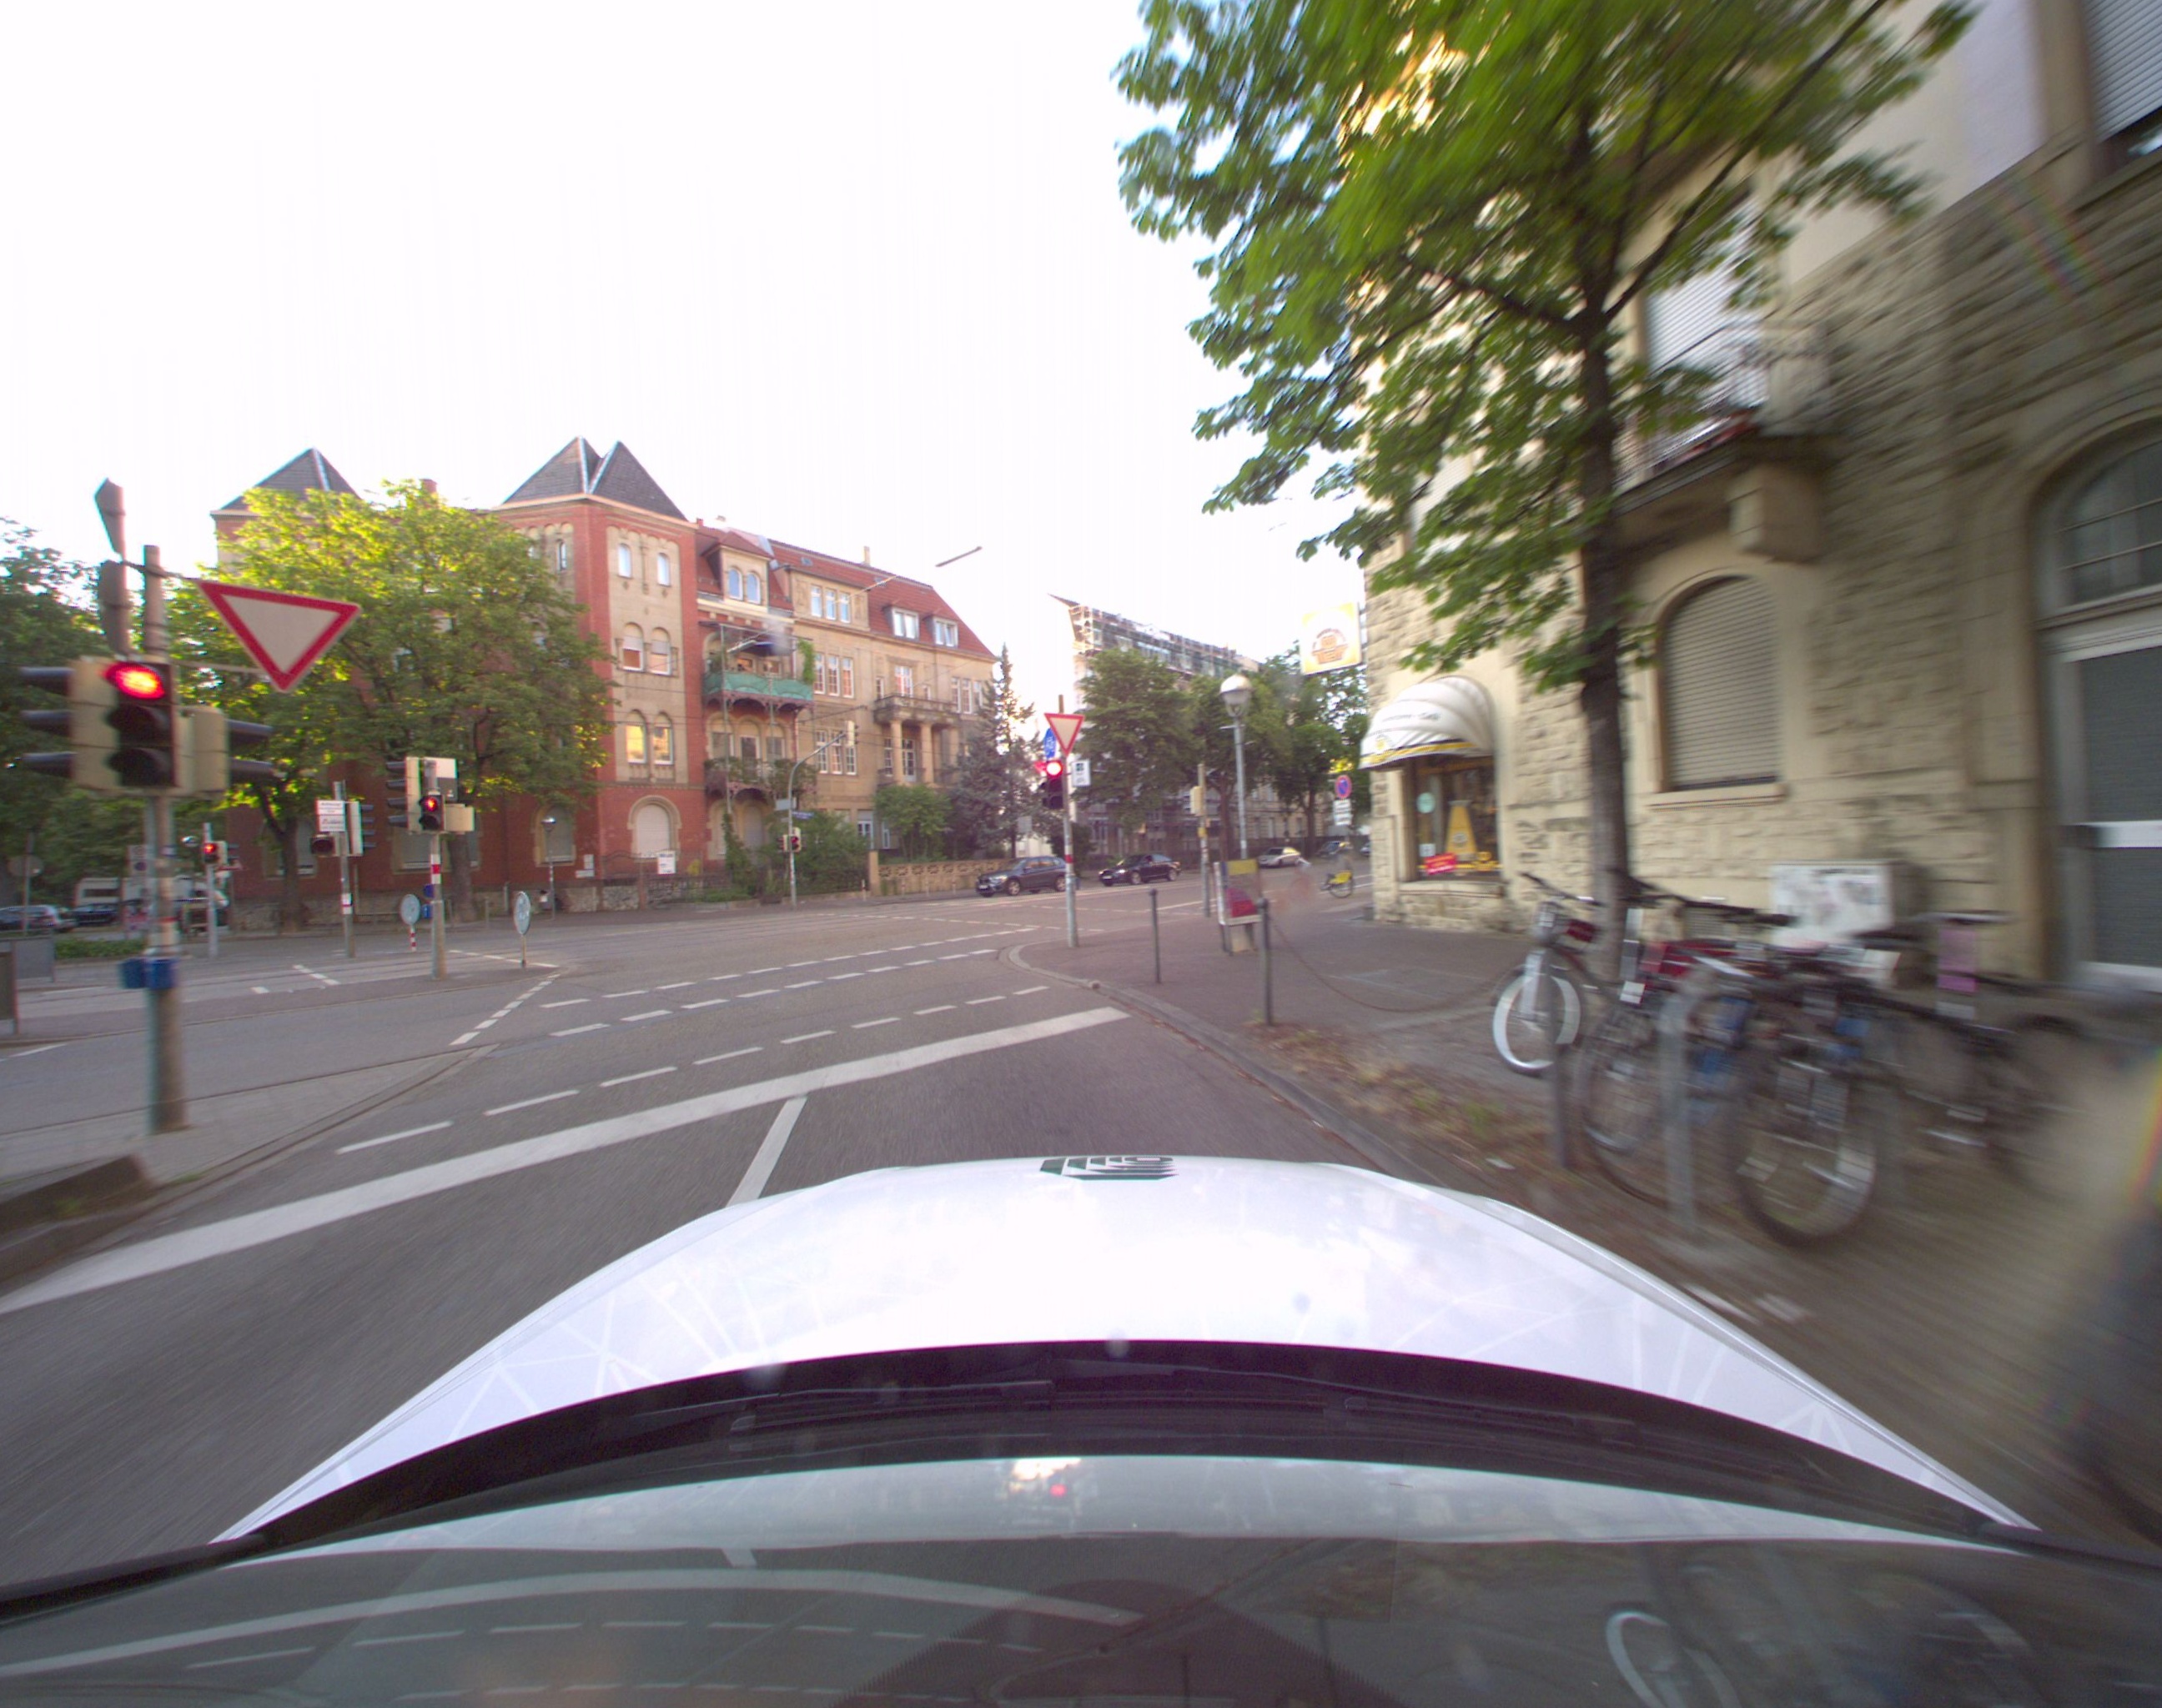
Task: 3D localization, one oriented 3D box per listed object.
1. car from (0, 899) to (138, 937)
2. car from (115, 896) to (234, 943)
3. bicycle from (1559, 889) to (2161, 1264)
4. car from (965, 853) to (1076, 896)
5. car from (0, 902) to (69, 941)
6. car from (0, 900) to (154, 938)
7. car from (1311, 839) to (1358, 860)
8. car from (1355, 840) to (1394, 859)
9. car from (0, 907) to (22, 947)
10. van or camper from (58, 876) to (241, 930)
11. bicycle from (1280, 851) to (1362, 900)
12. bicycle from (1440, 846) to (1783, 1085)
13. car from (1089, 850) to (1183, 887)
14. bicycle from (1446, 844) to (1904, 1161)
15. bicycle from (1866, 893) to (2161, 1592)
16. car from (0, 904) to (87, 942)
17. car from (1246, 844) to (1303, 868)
[{"bbox_3d":[-54.067,3.353,43.150,4.985,1.704,1.979,-1,-1,-33],"label":"car"},{"bbox_3d":[-38.813,2.728,35.038,2.006,1.704,4.675,-1,-1,-29],"label":"car"},{"bbox_3d":[2.861,0.715,3.045,1.801,1.038,0.697,-3,0,-10],"label":"bicycle"},{"bbox_3d":[-2.460,0.838,33.955,1.926,1.510,4.447,-3,0,44],"label":"car"},{"bbox_3d":[-51.385,3.219,37.880,4.985,1.704,1.979,-1,-1,-33],"label":"car"},{"bbox_3d":[-55.071,3.532,44.824,4.985,1.704,1.979,-1,-1,-33],"label":"car"},{"bbox_3d":[20.335,-0.336,65.283,1.926,1.482,4.194,-3,0,44],"label":"car"},{"bbox_3d":[26.135,-0.397,72.464,1.925,1.482,4.348,-3,0,37],"label":"car"},{"bbox_3d":[-50.683,3.349,35.579,4.985,1.704,1.979,-1,-1,-33],"label":"car"},{"bbox_3d":[-60.622,3.129,53.318,7.416,3.083,2.646,-1,-1,-33],"label":"van or camper"},{"bbox_3d":[6.080,0.547,20.720,1.863,1.130,0.732,-3,0,4],"label":"bicycle"},{"bbox_3d":[3.237,0.619,5.010,1.788,1.236,0.648,-3,0,-12],"label":"bicycle"},{"bbox_3d":[2.702,0.660,39.306,1.926,1.510,4.660,-3,0,44],"label":"car"},{"bbox_3d":[2.799,0.622,3.910,1.787,1.236,0.697,-3,0,-10],"label":"bicycle"},{"bbox_3d":[2.784,0.671,1.694,1.886,1.162,0.638,-3,0,-10],"label":"bicycle"},{"bbox_3d":[-53.334,3.450,40.211,4.985,1.704,1.979,-1,-1,-33],"label":"car"},{"bbox_3d":[13.644,0.132,57.385,1.984,1.426,4.662,-3,0,40],"label":"car"}]
